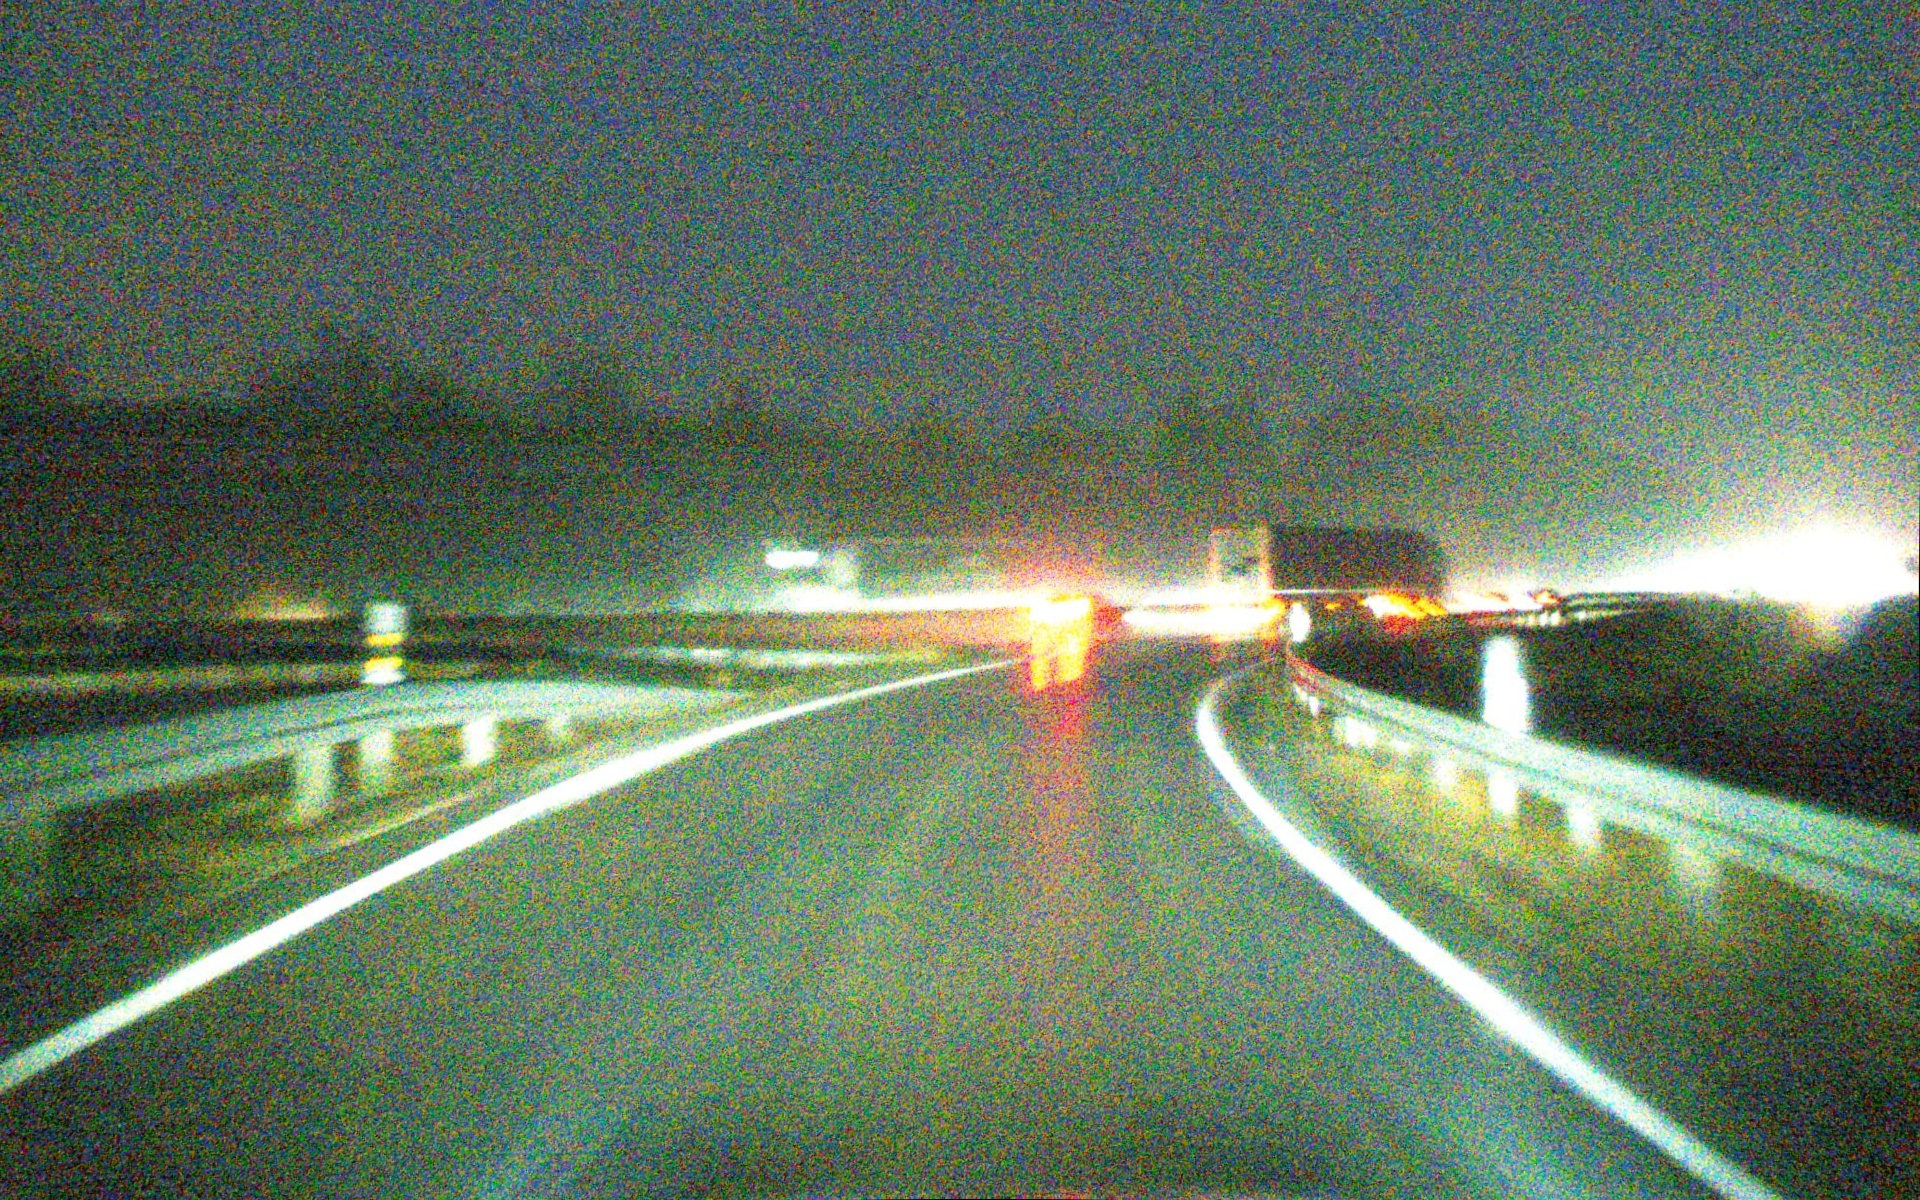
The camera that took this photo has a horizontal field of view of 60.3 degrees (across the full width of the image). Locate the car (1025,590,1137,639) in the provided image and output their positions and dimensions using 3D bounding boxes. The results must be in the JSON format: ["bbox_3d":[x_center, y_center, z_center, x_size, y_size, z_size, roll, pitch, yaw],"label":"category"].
[{"bbox_3d":[4.390,0.481,59.591,1.966,1.646,3.973,2,2,44],"label":"car"}]

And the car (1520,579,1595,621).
[{"bbox_3d":[27.716,-0.026,76.675,1.964,1.850,3.978,2,2,41],"label":"car"}]

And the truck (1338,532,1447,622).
[{"bbox_3d":[19.109,-1.024,72.846,2.548,3.775,5.431,2,2,39],"label":"truck"}]

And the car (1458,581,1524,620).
[{"bbox_3d":[28.970,0.006,90.183,1.965,2.048,3.976,2,2,42],"label":"car"}]

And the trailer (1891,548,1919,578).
[{"bbox_3d":[93.730,-3.565,161.283,2.647,2.746,12.785,2,2,41],"label":"trailer"}]

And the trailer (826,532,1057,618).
[{"bbox_3d":[-0.595,-1.208,79.718,2.613,3.795,13.864,2,2,41],"label":"trailer"}]

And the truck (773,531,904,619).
[{"bbox_3d":[-5.384,-1.139,74.190,2.613,3.795,5.671,2,2,41],"label":"truck"}]

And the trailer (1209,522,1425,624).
[{"bbox_3d":[14.922,-1.030,67.787,2.552,3.789,13.580,2,2,40],"label":"trailer"}]
